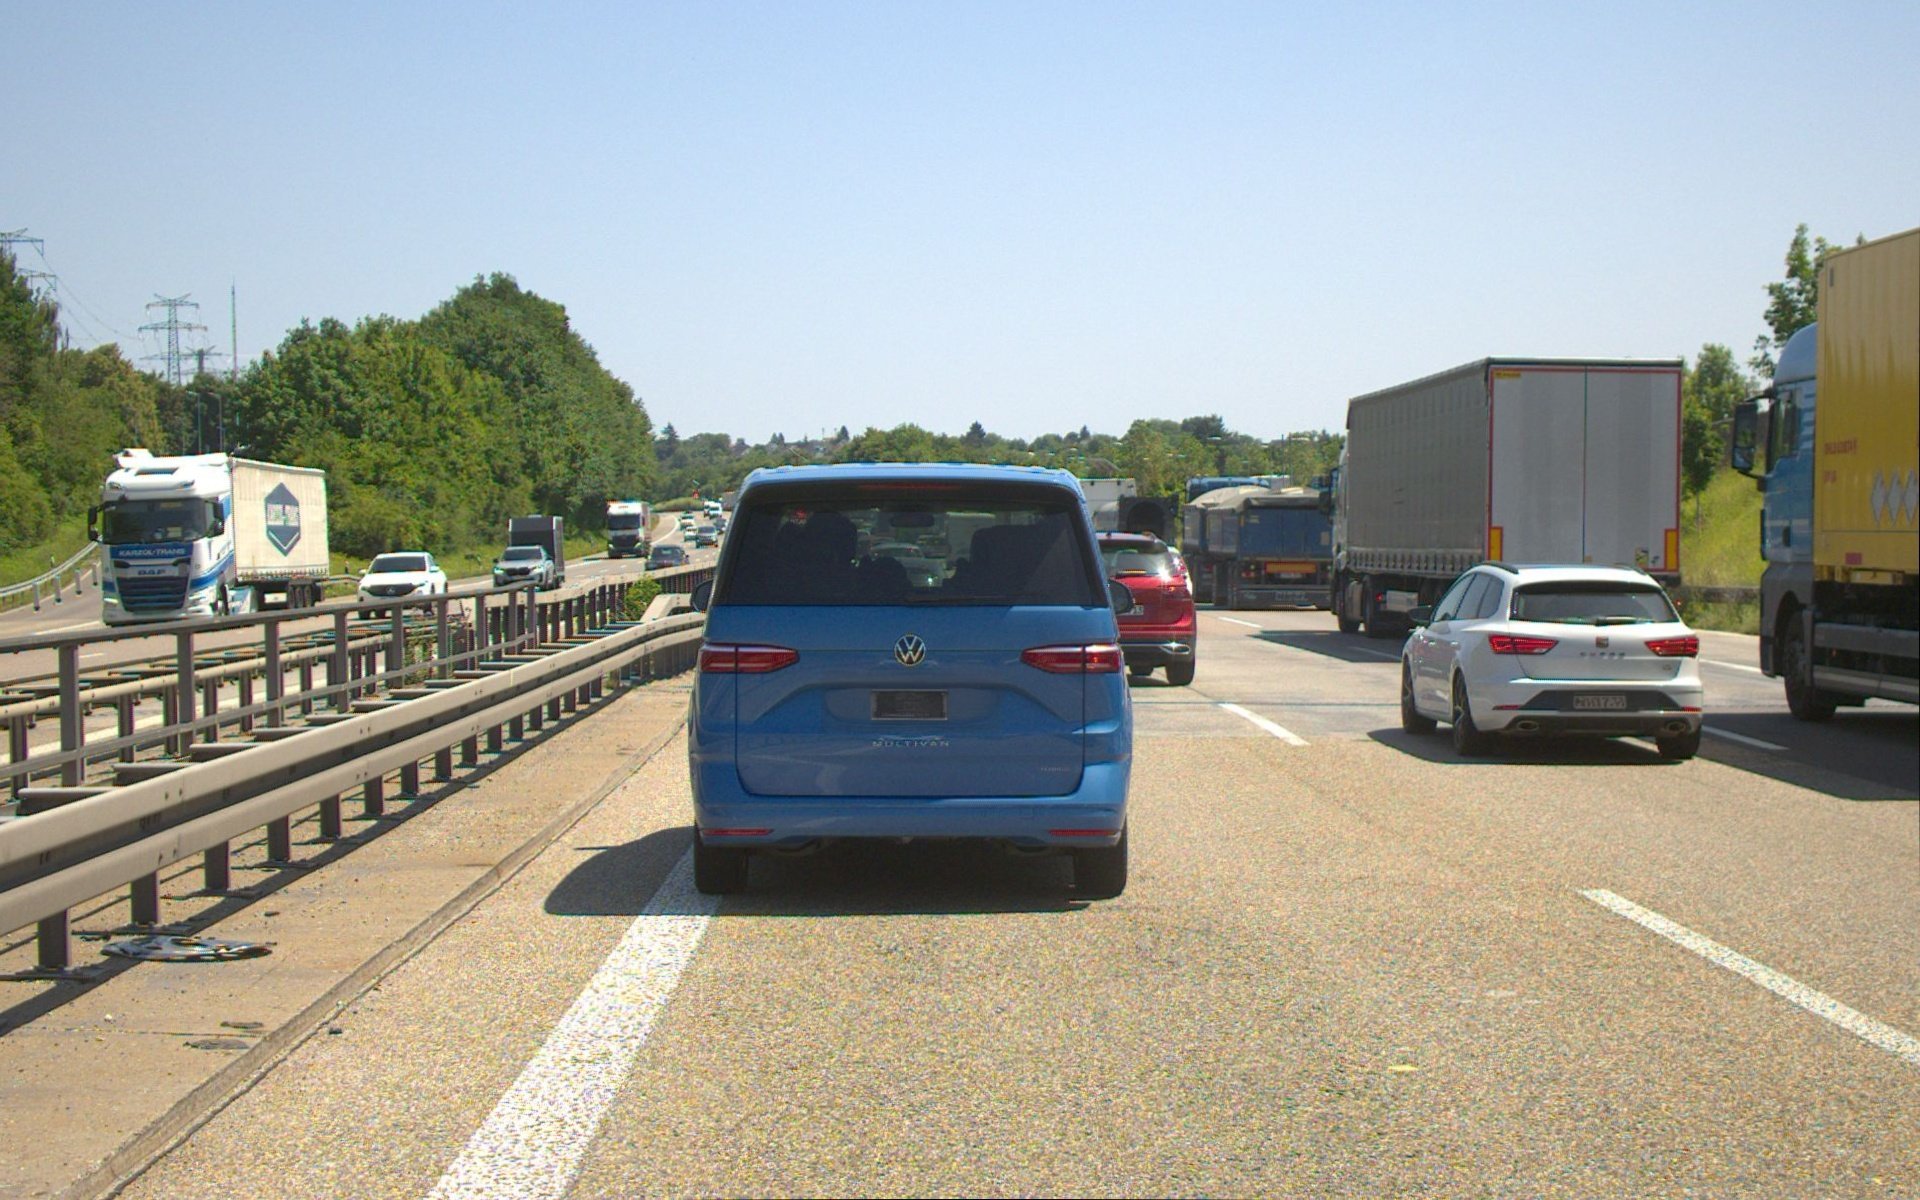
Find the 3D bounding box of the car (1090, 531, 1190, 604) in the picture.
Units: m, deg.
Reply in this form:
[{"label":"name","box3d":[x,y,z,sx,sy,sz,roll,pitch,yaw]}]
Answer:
[{"label":"car","box3d":[3.726,-0.679,71.757,1.840,1.449,4.000,1,1,0]}]

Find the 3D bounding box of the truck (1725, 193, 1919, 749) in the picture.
[{"label":"truck","box3d":[8.435,-0.950,26.295,2.765,4.095,9.953,1,1,-1]}]

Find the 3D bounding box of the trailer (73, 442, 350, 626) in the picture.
[{"label":"trailer","box3d":[-18.541,-1.598,86.463,3.989,4.221,14.041,-1,1,-1]}]

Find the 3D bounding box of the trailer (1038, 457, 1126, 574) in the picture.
[{"label":"trailer","box3d":[5.563,-3.793,158.693,3.646,5.118,13.076,1,1,1]}]

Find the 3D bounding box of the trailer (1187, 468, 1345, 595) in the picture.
[{"label":"trailer","box3d":[7.225,-1.705,82.356,2.743,2.827,9.117,1,2,-1]}]

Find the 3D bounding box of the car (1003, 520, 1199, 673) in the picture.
[{"label":"car","box3d":[1.492,-0.055,37.665,1.870,1.547,4.000,1,1,-1]}]

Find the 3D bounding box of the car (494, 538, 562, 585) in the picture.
[{"label":"car","box3d":[-15.400,-1.380,122.799,1.870,1.620,4.629,1,1,0]}]

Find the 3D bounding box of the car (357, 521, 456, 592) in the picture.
[{"label":"car","box3d":[-13.844,-1.081,86.200,1.749,1.690,4.385,-2,1,0]}]

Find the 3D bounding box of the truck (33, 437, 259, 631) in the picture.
[{"label":"truck","box3d":[-18.449,-1.490,78.283,4.005,4.214,4.859,-1,0,-1]}]

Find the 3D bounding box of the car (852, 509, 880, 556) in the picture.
[{"label":"car","box3d":[-7.045,-5.052,257.504,1.993,3.402,4.000,1,0,-2]}]

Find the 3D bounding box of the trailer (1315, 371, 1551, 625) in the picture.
[{"label":"trailer","box3d":[7.861,-1.704,57.947,2.924,4.030,6.411,0,1,-1]}]

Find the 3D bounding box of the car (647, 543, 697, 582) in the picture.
[{"label":"car","box3d":[-12.040,-1.580,143.956,1.792,1.567,4.000,1,1,0]}]

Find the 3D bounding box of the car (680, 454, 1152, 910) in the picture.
[{"label":"car","box3d":[-0.185,0.316,16.067,1.901,1.831,4.000,1,1,0]}]

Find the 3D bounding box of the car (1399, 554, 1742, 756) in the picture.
[{"label":"car","box3d":[4.540,0.358,26.144,1.867,1.356,4.000,1,1,0]}]

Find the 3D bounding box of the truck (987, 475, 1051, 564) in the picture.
[{"label":"truck","box3d":[3.350,-4.526,196.869,3.068,4.903,10.691,1,1,-2]}]

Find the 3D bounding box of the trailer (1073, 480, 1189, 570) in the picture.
[{"label":"trailer","box3d":[6.263,-2.703,128.493,3.646,3.068,15.772,1,1,1]}]

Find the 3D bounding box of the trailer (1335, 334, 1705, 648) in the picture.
[{"label":"trailer","box3d":[7.991,-1.550,51.356,2.962,4.035,13.753,0,1,-1]}]

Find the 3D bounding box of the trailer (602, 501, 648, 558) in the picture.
[{"label":"trailer","box3d":[-24.052,-5.093,246.929,2.757,3.962,6.132,-2,2,-1]}]

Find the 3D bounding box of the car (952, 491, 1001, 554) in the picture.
[{"label":"car","box3d":[0.847,-3.860,172.325,2.286,2.998,5.574,1,0,1]}]

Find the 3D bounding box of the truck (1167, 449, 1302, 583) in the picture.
[{"label":"truck","box3d":[7.077,-2.220,89.610,2.743,3.300,7.133,1,2,-1]}]

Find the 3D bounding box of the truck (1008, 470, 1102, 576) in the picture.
[{"label":"truck","box3d":[4.838,-3.909,179.156,3.621,5.195,15.691,1,1,-3]}]

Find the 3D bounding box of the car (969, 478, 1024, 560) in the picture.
[{"label":"car","box3d":[2.379,-5.304,226.157,3.218,5.239,8.145,1,0,-1]}]

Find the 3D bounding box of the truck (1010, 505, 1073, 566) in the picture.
[{"label":"truck","box3d":[2.520,-2.005,107.349,1.725,1.851,4.000,1,1,-2]}]

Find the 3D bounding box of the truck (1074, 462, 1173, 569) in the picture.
[{"label":"truck","box3d":[6.429,-3.286,136.502,3.626,4.080,7.524,1,0,1]}]

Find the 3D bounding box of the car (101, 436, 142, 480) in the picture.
[{"label":"car","box3d":[-59.784,-10.106,245.155,2.068,2.870,6.734,-1,1,-20]}]

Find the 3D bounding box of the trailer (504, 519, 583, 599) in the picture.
[{"label":"trailer","box3d":[-15.458,-1.518,127.752,2.166,2.768,5.376,-3,1,0]}]
